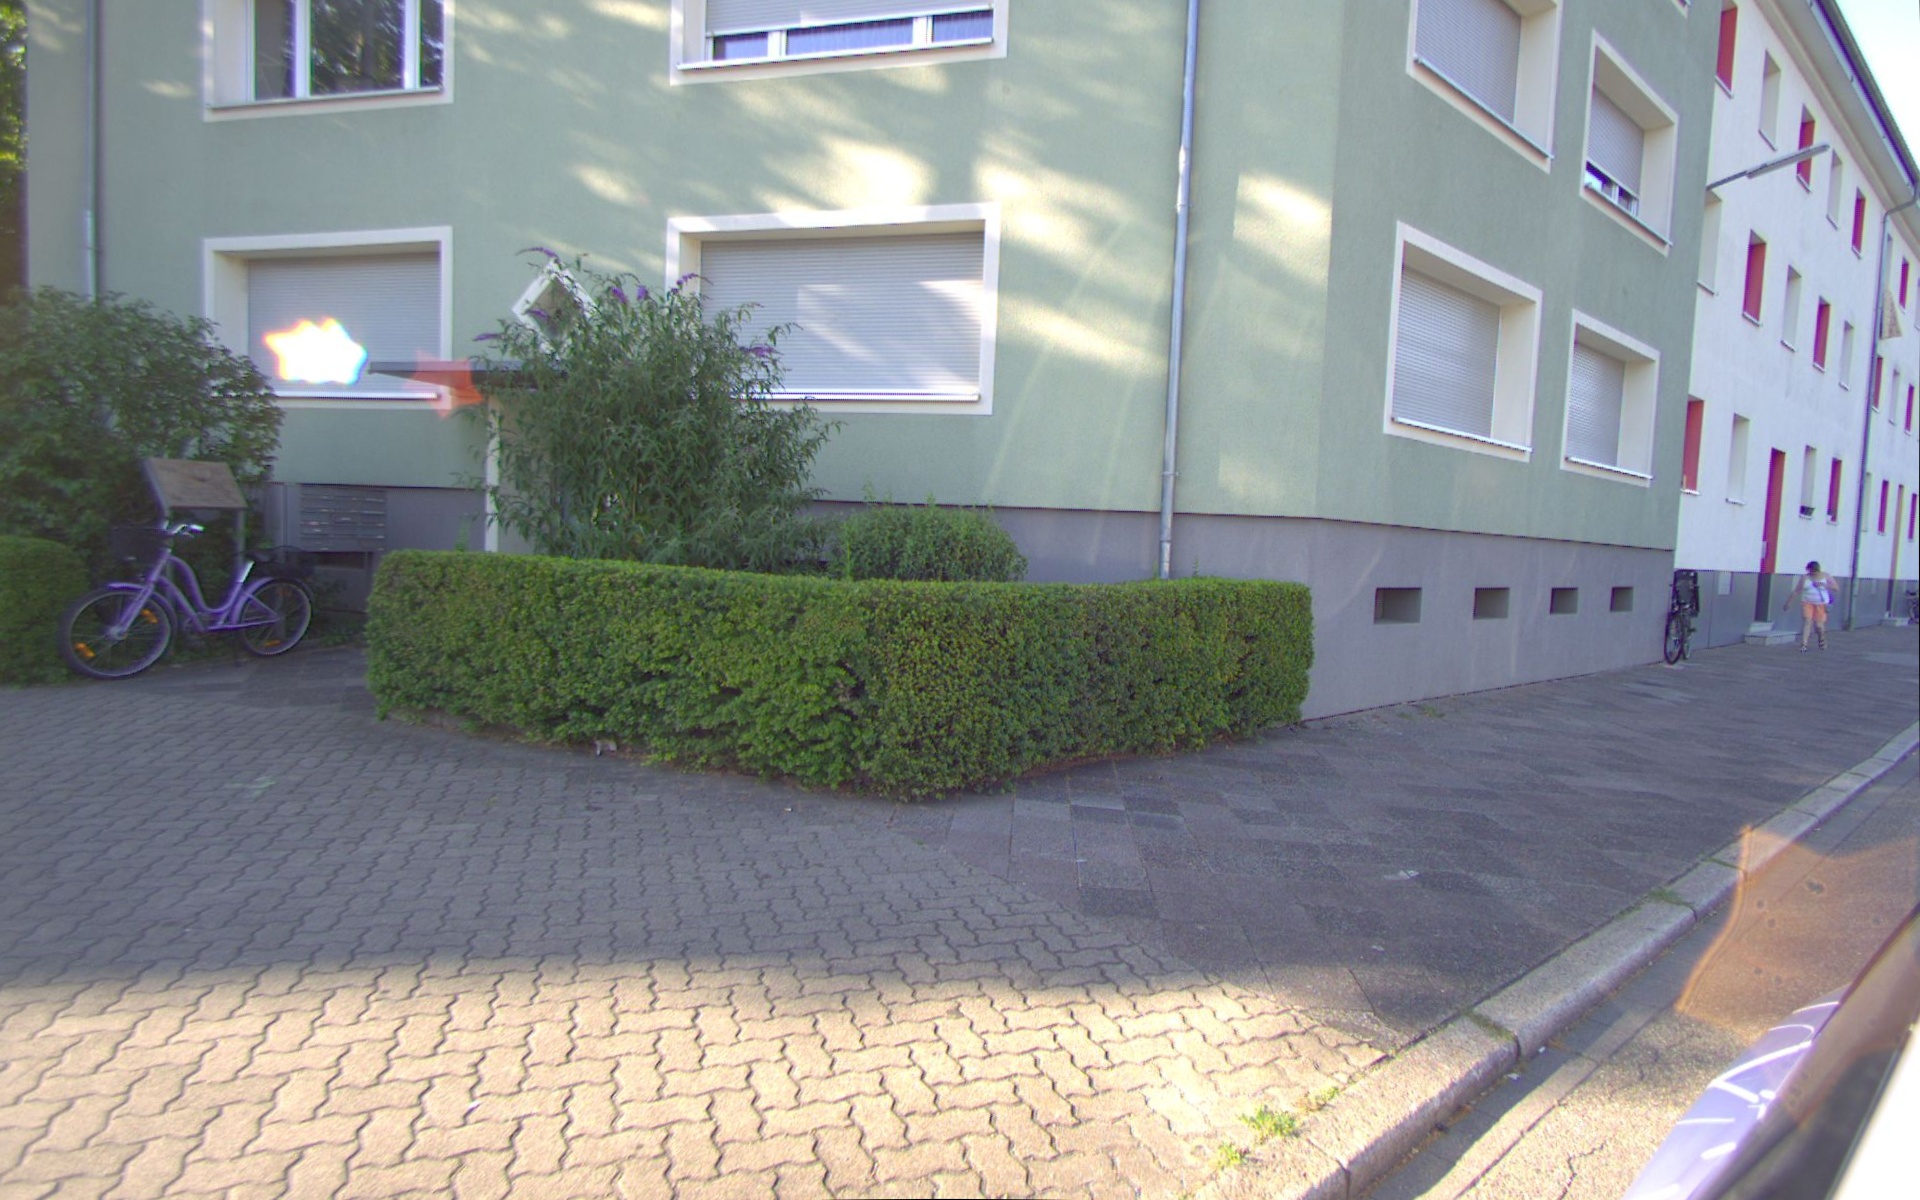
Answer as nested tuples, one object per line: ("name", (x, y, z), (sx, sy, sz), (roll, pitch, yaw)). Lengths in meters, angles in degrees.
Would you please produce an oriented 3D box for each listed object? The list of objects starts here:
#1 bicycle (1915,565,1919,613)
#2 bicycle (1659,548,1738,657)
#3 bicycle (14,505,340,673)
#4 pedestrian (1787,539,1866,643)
("bicycle", (29.675, -0.330, 30.940), (1.843, 1.429, 0.517), (-1, 4, -44))
("bicycle", (10.372, 0.012, 14.197), (1.843, 1.429, 0.517), (-1, 4, -44))
("bicycle", (-5.673, -0.123, 7.498), (0.515, 1.069, 1.920), (3, 4, 22))
("pedestrian", (15.074, -0.174, 17.600), (0.933, 1.727, 0.787), (-1, 5, -41))
